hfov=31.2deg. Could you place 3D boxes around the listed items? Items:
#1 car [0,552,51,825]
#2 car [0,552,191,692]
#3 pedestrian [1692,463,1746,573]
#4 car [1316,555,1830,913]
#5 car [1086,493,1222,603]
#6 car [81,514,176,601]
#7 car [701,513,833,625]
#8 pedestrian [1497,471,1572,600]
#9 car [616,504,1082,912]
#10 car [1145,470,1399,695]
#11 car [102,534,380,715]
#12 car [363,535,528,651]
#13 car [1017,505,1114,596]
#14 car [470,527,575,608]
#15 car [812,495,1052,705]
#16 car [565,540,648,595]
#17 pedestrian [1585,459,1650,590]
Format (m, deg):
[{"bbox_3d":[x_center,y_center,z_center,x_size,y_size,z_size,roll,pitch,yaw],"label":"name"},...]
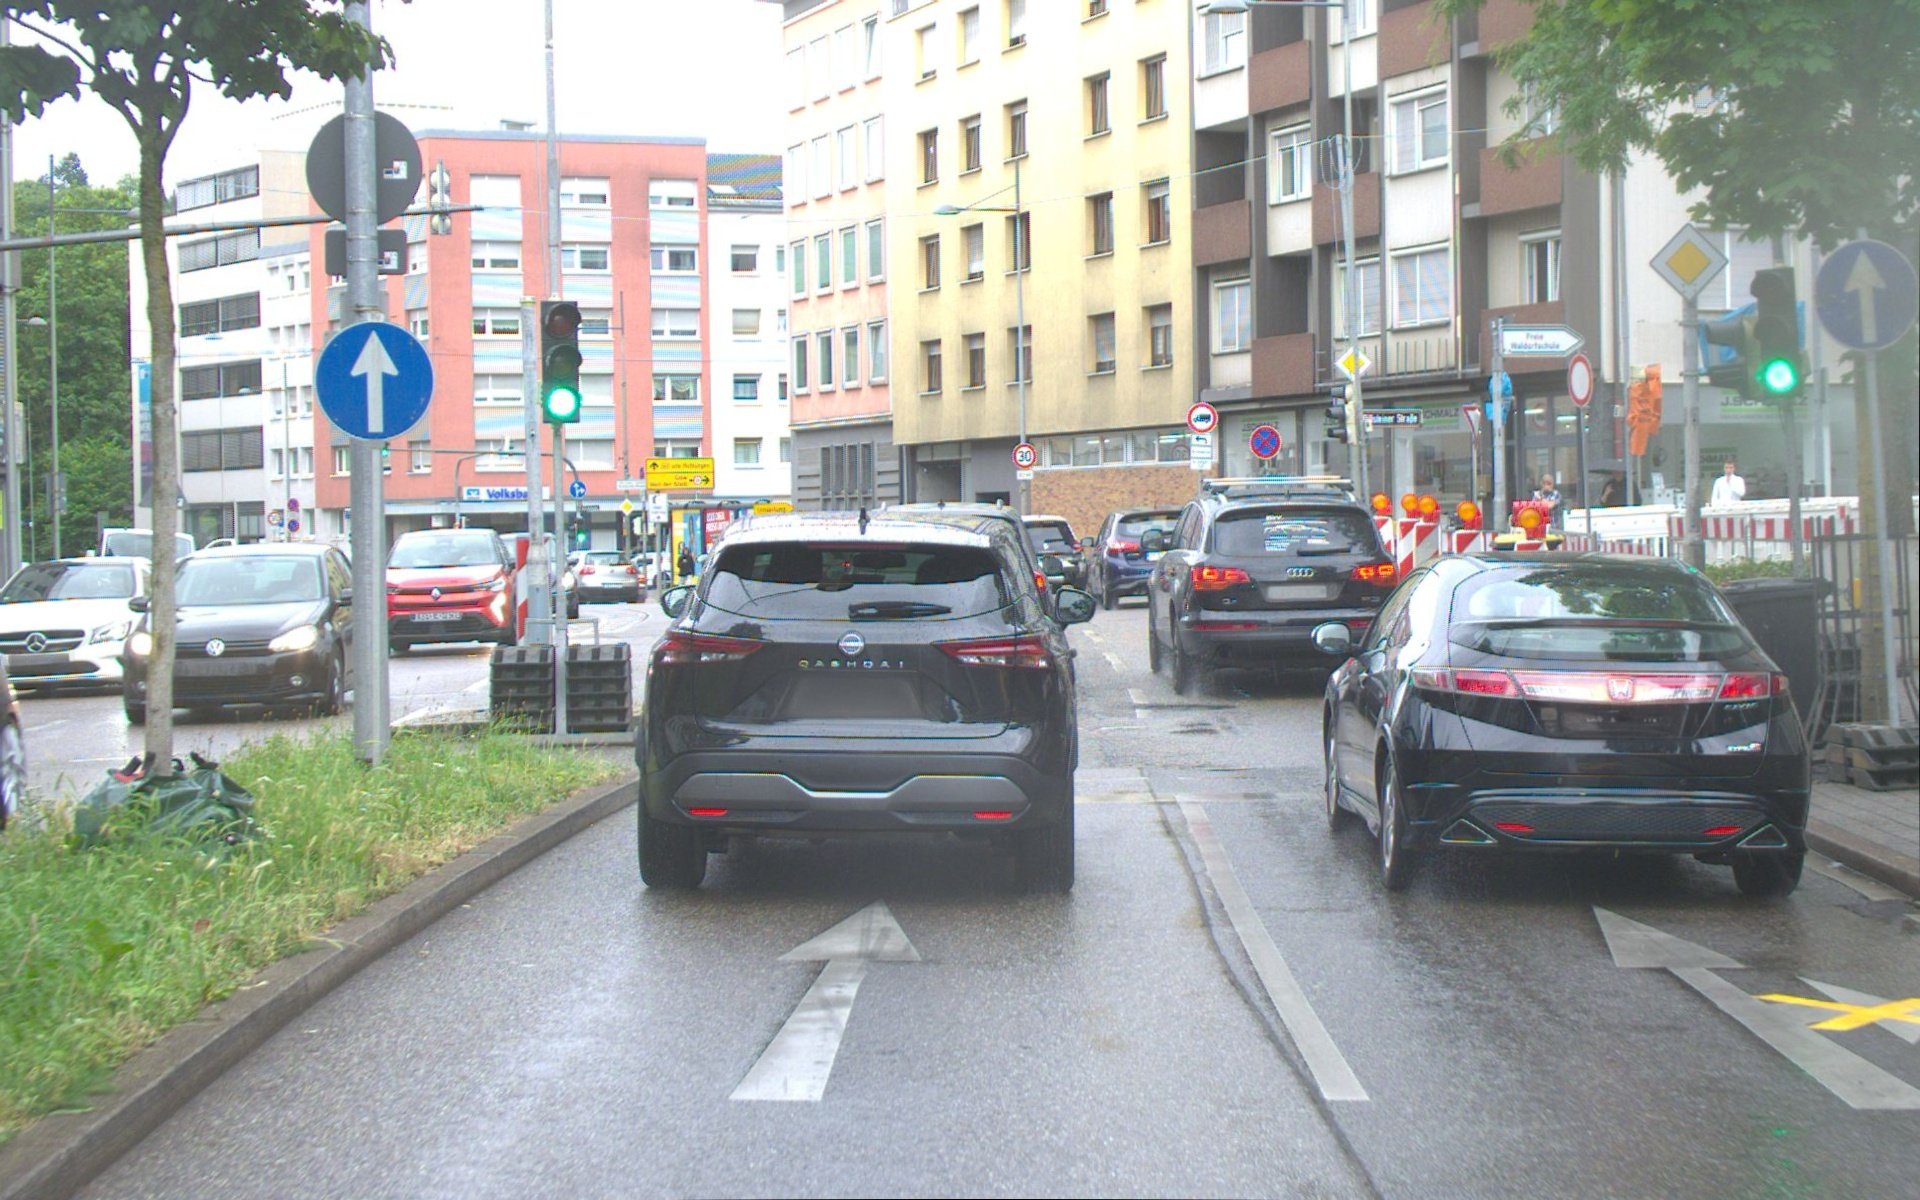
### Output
[{"bbox_3d":[-5.750,0.529,16.935,1.532,1.408,3.937,-3,1,-2],"label":"car"},{"bbox_3d":[-9.016,0.196,35.286,1.549,1.285,3.349,-3,1,-2],"label":"car"},{"bbox_3d":[12.249,-1.323,55.486,0.528,1.763,0.623,0,2,-32],"label":"pedestrian"},{"bbox_3d":[2.644,0.513,15.633,1.786,1.395,3.718,0,1,2],"label":"car"},{"bbox_3d":[2.901,-0.820,52.142,1.830,1.557,3.719,1,2,0],"label":"car"},{"bbox_3d":[-15.573,-0.808,64.496,1.549,1.565,3.349,1,1,-11],"label":"car"},{"bbox_3d":[-2.571,-0.436,45.912,1.641,1.376,3.349,-3,1,-3],"label":"car"},{"bbox_3d":[9.038,-1.018,54.112,0.821,2.006,0.840,0,2,-20],"label":"pedestrian"},{"bbox_3d":[-0.476,0.384,15.427,1.823,1.595,3.719,1,1,-1],"label":"car"},{"bbox_3d":[2.635,-0.209,29.800,1.830,1.799,3.719,1,2,0],"label":"car"},{"bbox_3d":[-6.087,0.162,29.489,1.670,1.365,3.753,-3,1,-2],"label":"car"},{"bbox_3d":[-6.411,-0.114,43.104,1.641,1.317,3.349,-3,1,-2],"label":"car"},{"bbox_3d":[2.088,-0.994,67.740,1.830,1.678,3.719,1,2,2],"label":"car"},{"bbox_3d":[-7.822,-0.598,61.670,1.640,1.340,3.349,-3,1,-4],"label":"car"},{"bbox_3d":[-0.254,-0.043,28.278,1.823,1.595,3.719,1,1,-1],"label":"car"},{"bbox_3d":[-9.341,-0.870,90.640,1.640,1.340,3.349,-3,1,-14],"label":"car"},{"bbox_3d":[10.247,-1.182,53.600,0.821,2.006,0.840,1,2,1],"label":"pedestrian"}]
